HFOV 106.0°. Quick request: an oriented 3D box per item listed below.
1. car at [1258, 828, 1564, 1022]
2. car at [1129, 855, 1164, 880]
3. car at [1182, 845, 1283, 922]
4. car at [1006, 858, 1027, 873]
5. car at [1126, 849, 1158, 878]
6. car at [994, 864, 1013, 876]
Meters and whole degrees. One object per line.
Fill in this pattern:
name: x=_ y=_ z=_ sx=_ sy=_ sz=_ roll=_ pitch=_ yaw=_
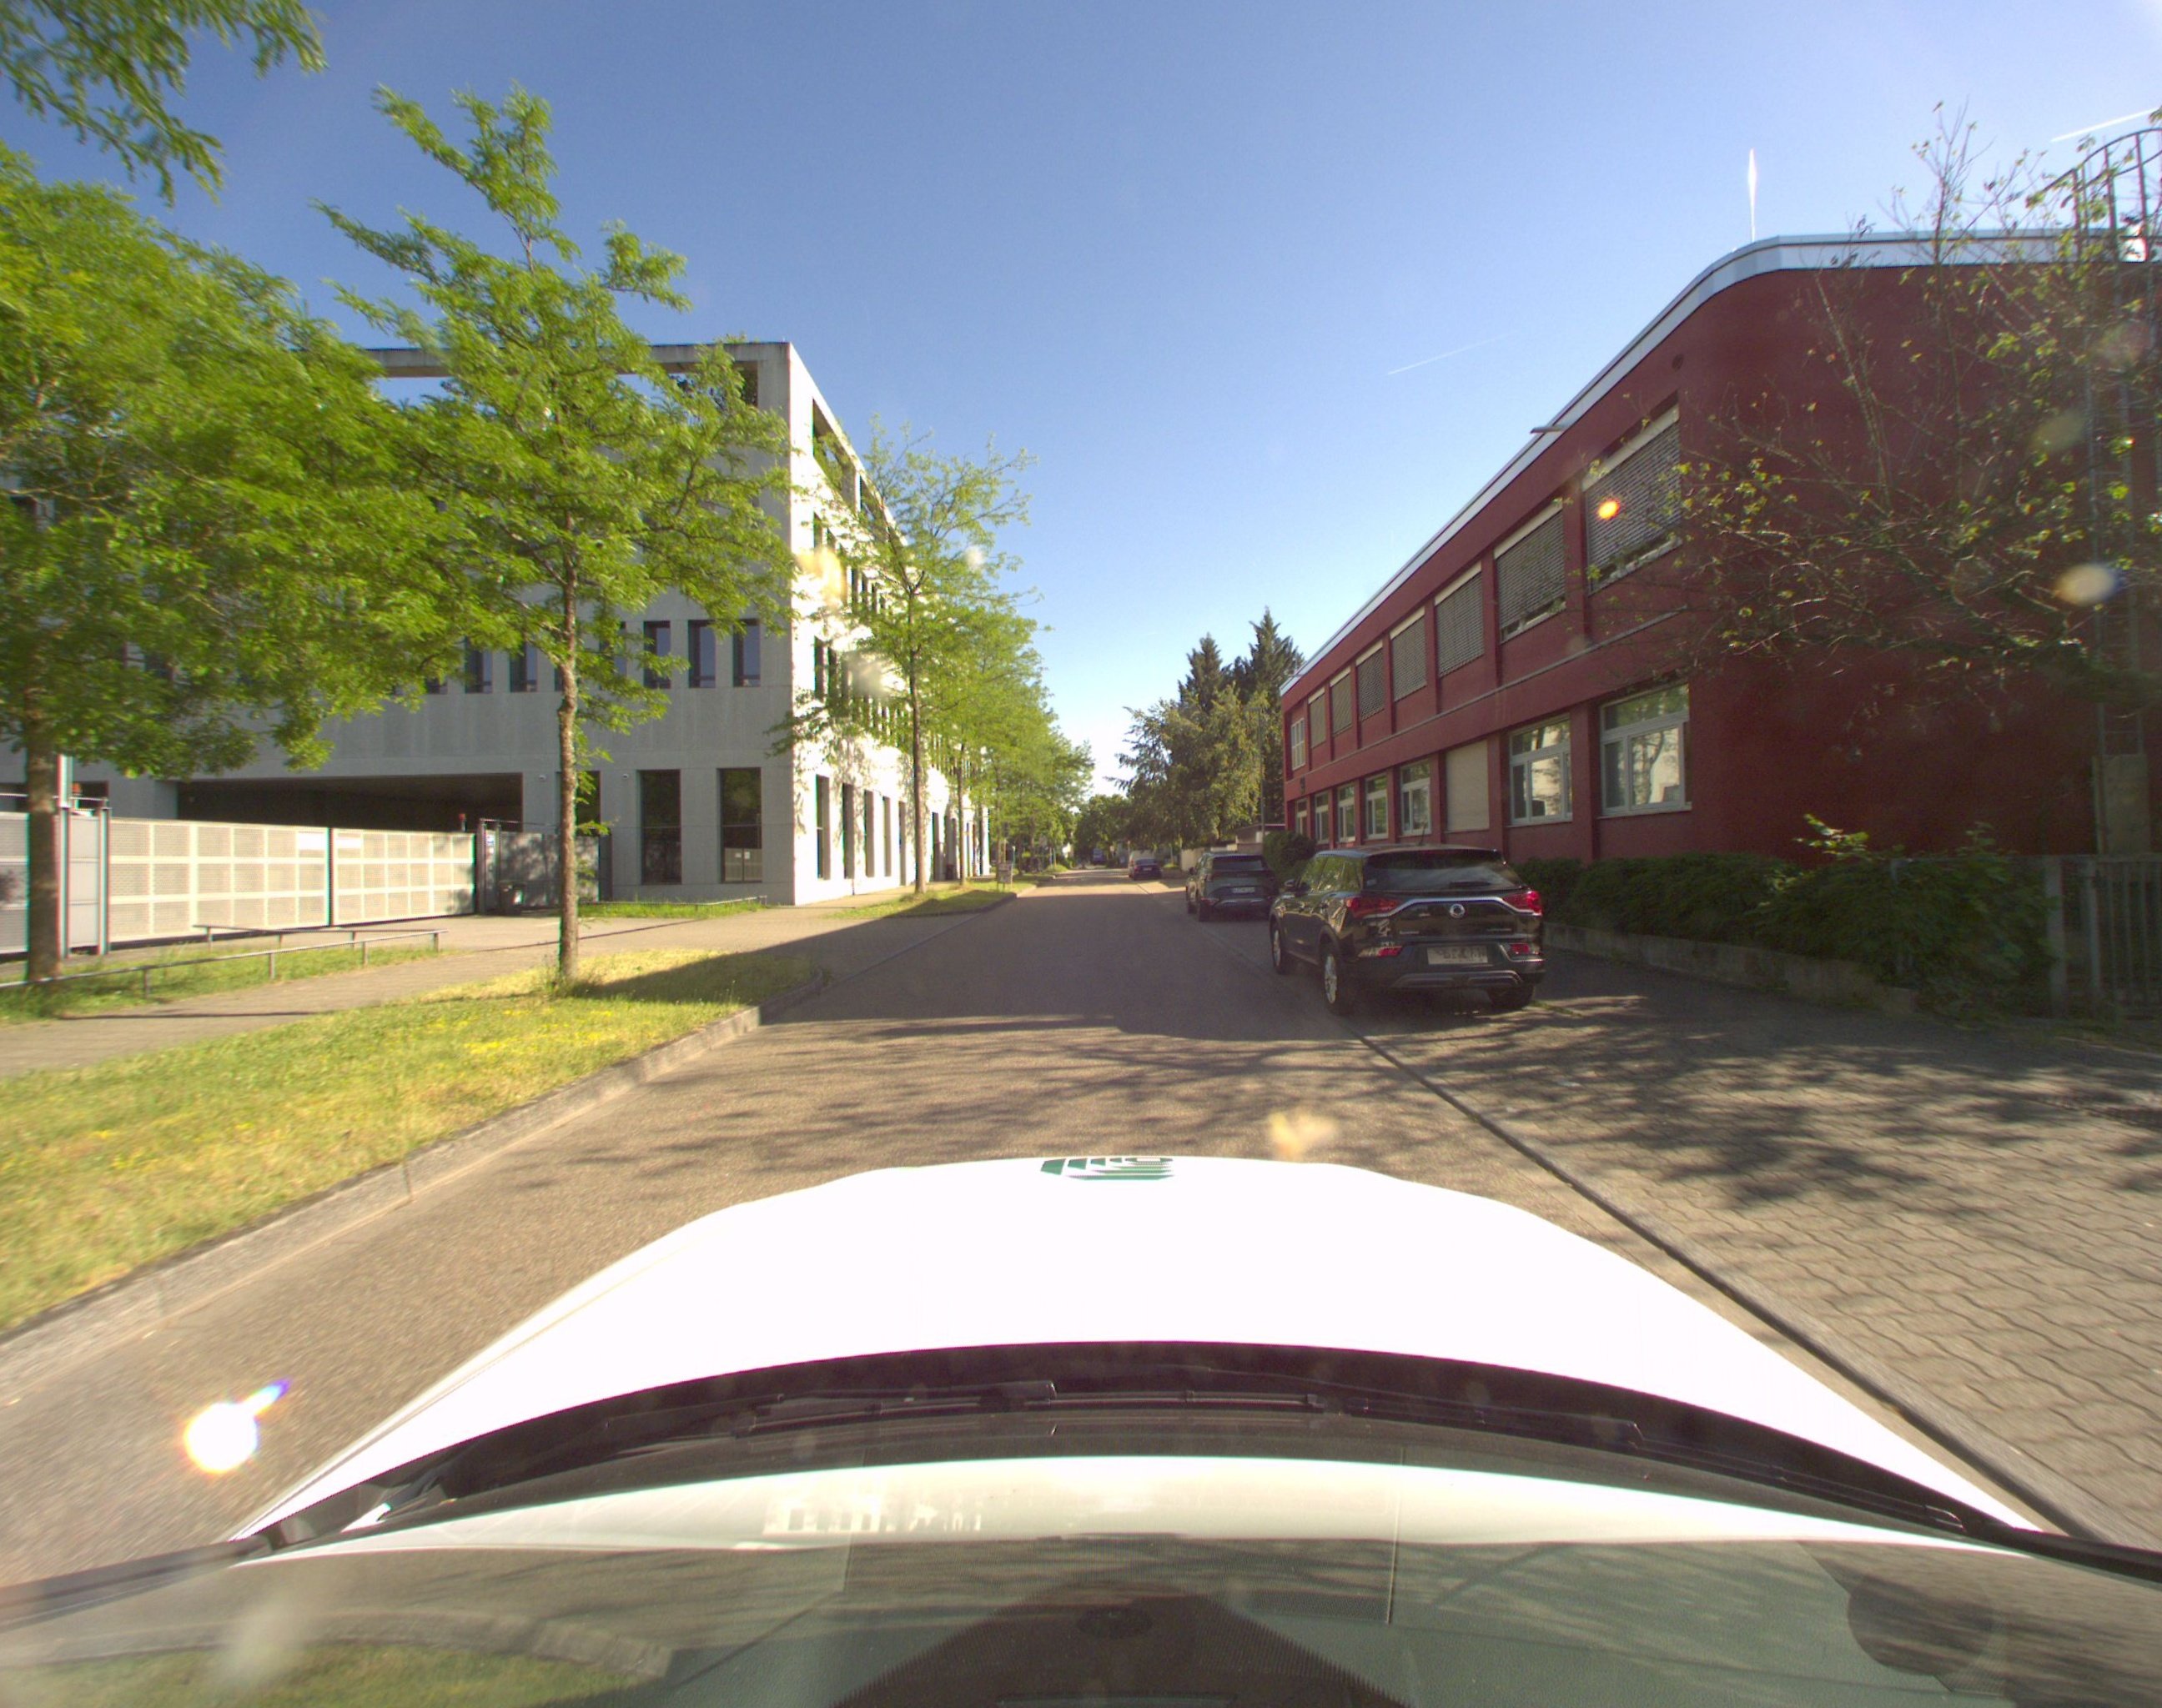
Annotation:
car: x=3.273 y=0.625 z=9.068 sx=1.831 sy=1.634 sz=4.203 roll=-1 pitch=0 yaw=2
car: x=4.212 y=0.865 z=52.828 sx=1.986 sy=1.442 sz=4.002 roll=-4 pitch=-1 yaw=2
car: x=3.619 y=0.675 z=20.143 sx=1.848 sy=1.648 sz=4.002 roll=-2 pitch=-1 yaw=2
car: x=-6.603 y=1.190 z=83.817 sx=1.988 sy=1.458 sz=3.790 roll=-1 pitch=0 yaw=-2
car: x=4.351 y=0.668 z=58.566 sx=1.986 sy=1.834 sz=4.002 roll=-4 pitch=-1 yaw=2
car: x=-8.990 y=1.867 z=94.834 sx=1.900 sy=1.342 sz=3.790 roll=-1 pitch=0 yaw=-2
